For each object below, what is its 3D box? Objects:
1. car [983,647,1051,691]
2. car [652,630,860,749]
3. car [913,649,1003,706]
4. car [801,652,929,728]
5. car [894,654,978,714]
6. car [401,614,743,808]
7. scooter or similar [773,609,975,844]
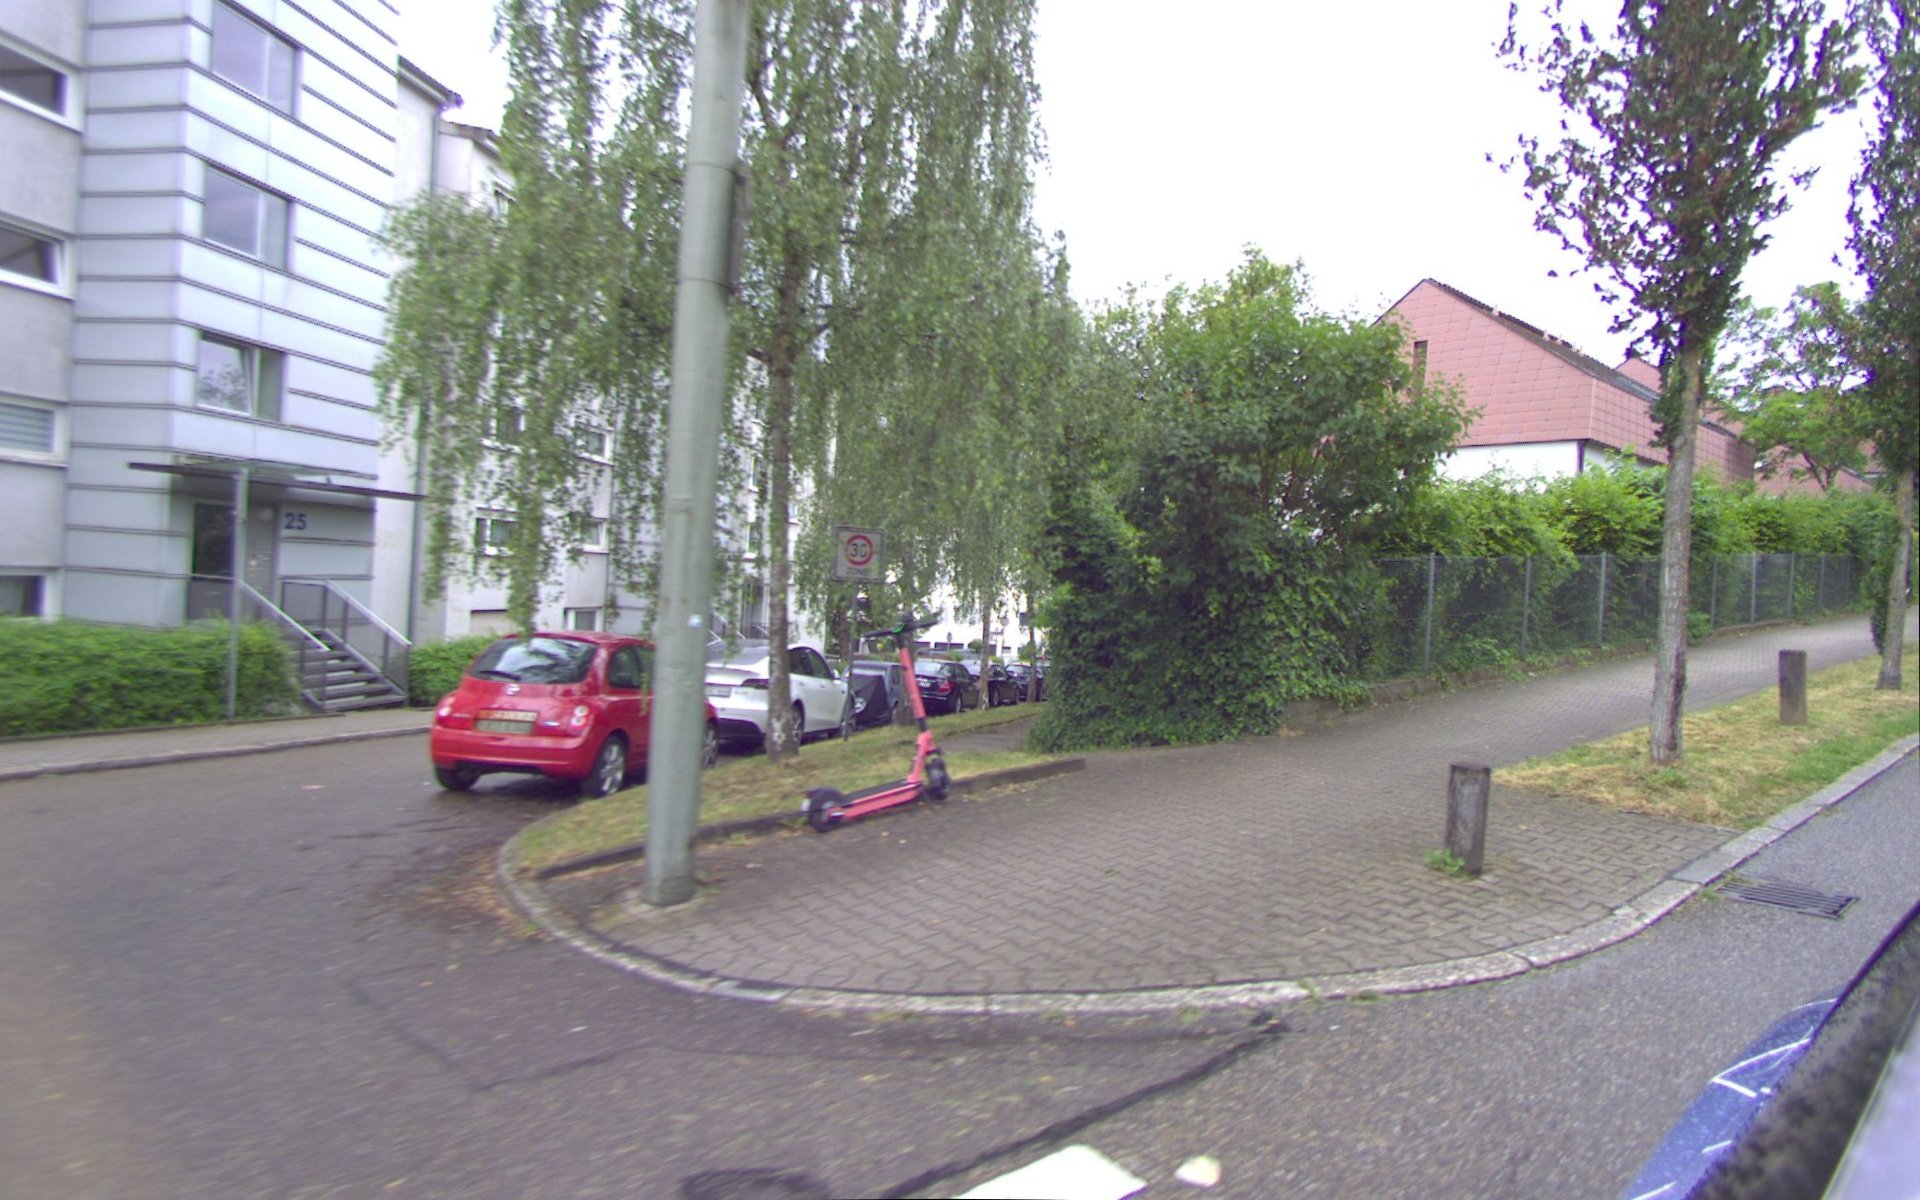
[{"bbox_3d":[2.297,2.698,39.866,1.971,1.617,3.980,0,-3,14],"label":"car"},{"bbox_3d":[-2.950,1.372,15.696,1.699,1.563,4.358,0,-5,9],"label":"car"},{"bbox_3d":[0.017,2.376,31.699,1.970,1.617,3.982,0,-3,13],"label":"car"},{"bbox_3d":[-1.906,1.892,21.723,1.699,1.440,4.287,0,-4,9],"label":"car"},{"bbox_3d":[-0.568,2.187,27.071,1.569,1.397,3.887,0,-2,9],"label":"car"},{"bbox_3d":[-3.685,1.039,10.340,1.618,1.543,3.557,2,-3,10],"label":"car"},{"bbox_3d":[-0.503,0.718,6.244,1.245,1.270,0.343,-3,2,-40],"label":"scooter or similar"}]
